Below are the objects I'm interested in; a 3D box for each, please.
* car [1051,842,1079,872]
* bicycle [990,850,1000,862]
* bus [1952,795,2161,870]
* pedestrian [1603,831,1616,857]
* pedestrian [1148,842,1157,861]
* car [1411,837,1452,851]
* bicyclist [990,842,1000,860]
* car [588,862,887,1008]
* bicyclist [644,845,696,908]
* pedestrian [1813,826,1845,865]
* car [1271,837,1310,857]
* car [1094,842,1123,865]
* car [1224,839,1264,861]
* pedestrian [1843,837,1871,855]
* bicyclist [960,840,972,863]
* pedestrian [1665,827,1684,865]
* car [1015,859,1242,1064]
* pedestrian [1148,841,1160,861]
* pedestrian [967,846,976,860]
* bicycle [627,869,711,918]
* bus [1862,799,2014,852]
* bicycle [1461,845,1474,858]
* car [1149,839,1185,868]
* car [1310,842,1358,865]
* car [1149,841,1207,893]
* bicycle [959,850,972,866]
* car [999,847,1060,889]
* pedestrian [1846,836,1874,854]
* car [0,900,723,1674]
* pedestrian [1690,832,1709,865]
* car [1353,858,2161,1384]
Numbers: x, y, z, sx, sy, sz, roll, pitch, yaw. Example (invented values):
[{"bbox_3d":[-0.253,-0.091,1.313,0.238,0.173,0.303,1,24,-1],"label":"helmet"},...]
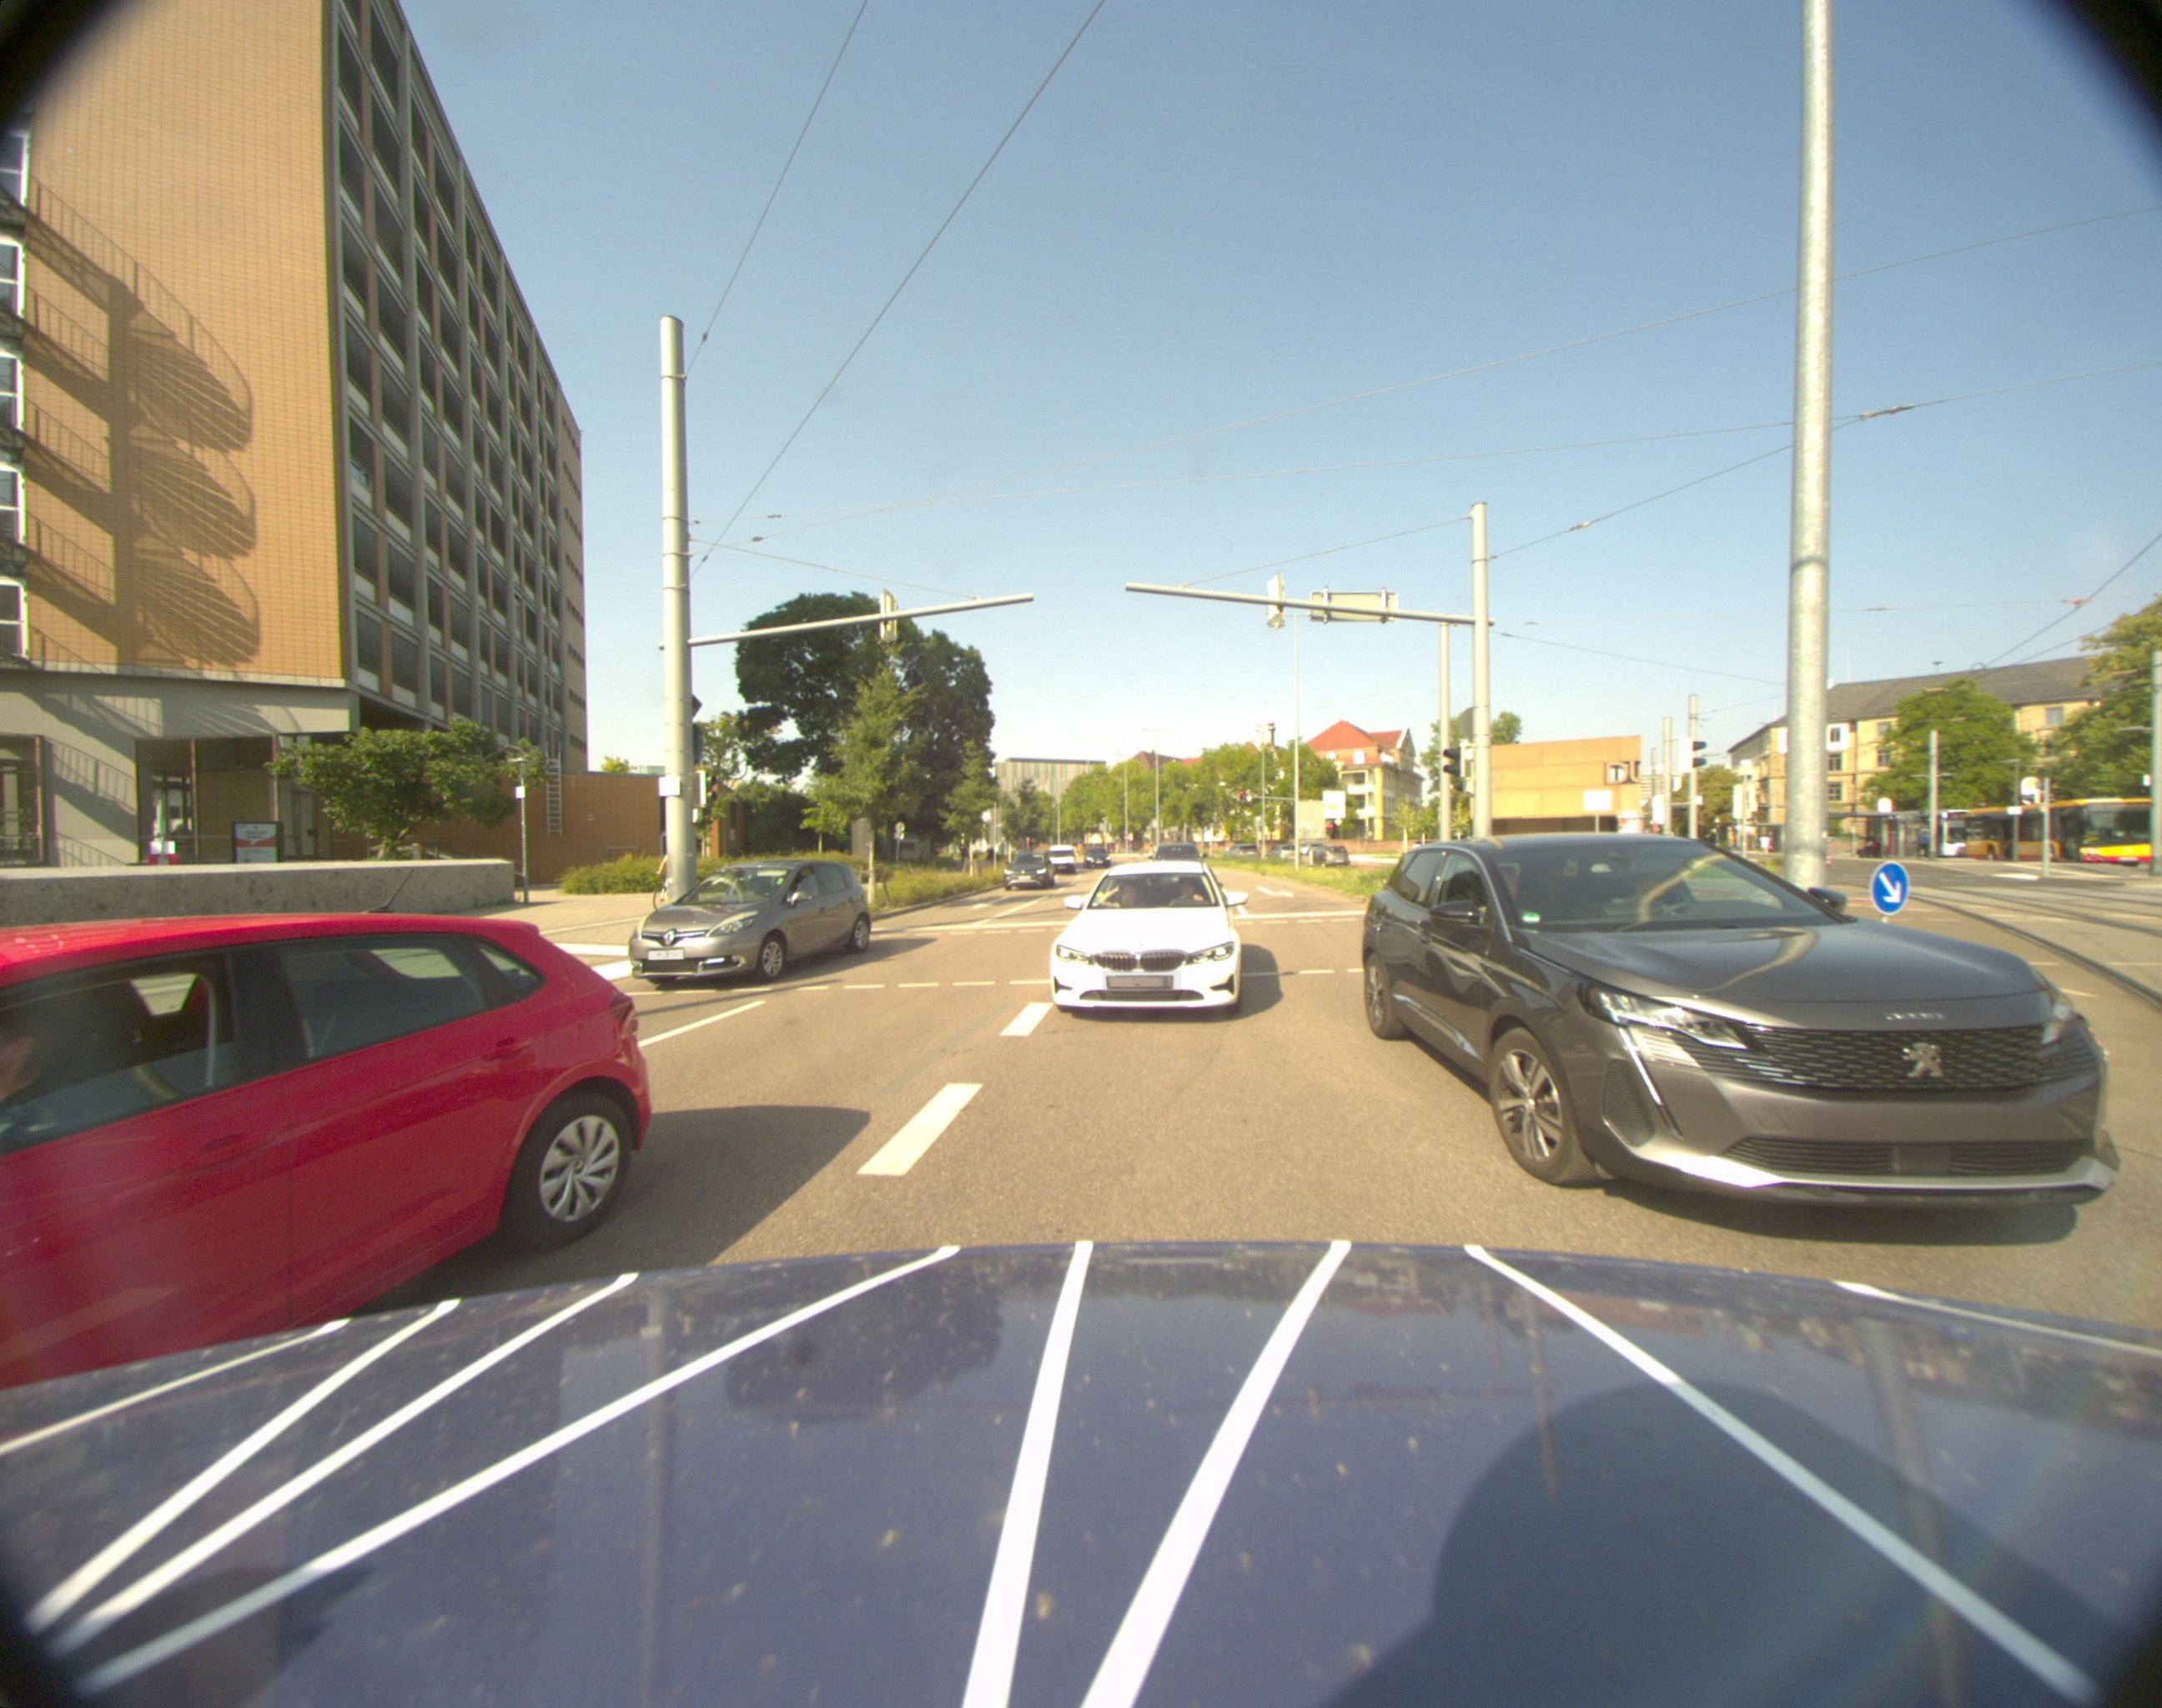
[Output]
[{"bbox_3d":[-1.038,0.162,51.011,1.687,1.930,4.371,-1,1,0],"label":"car"},{"bbox_3d":[-7.147,0.164,63.019,0.721,0.954,1.920,-1,1,-3],"label":"bicycle"},{"bbox_3d":[47.050,-1.014,37.144,2.709,3.090,12.238,0,1,34],"label":"bus"},{"bbox_3d":[36.092,-0.669,51.903,0.717,1.728,0.858,0,2,32],"label":"pedestrian"},{"bbox_3d":[6.302,-0.228,66.749,0.668,1.689,0.691,-1,1,-6],"label":"pedestrian"},{"bbox_3d":[41.589,-1.191,90.149,4.377,1.624,1.996,-1,1,-24],"label":"car"},{"bbox_3d":[-7.148,-0.254,63.065,0.721,1.504,1.004,-1,1,-3],"label":"bicyclist"},{"bbox_3d":[-4.728,1.016,11.331,1.781,1.596,4.424,-4,0,10],"label":"car"},{"bbox_3d":[-10.693,0.568,19.807,0.773,1.584,0.924,-1,1,4],"label":"bicyclist"},{"bbox_3d":[35.074,-0.406,35.634,0.779,1.790,0.701,-1,2,-2],"label":"pedestrian"},{"bbox_3d":[15.855,-0.537,57.742,1.818,1.425,4.223,-1,1,0],"label":"car"},{"bbox_3d":[2.059,-0.049,57.360,1.687,1.644,4.370,-1,1,-5],"label":"car"},{"bbox_3d":[12.265,-0.336,57.414,1.699,1.608,4.458,-1,1,-6],"label":"car"},{"bbox_3d":[48.637,-0.518,47.641,1.028,1.127,0.739,0,2,25],"label":"pedestrian"},{"bbox_3d":[-8.505,-0.154,56.062,0.773,1.666,0.923,-1,1,-6],"label":"bicyclist"},{"bbox_3d":[28.406,-0.387,36.366,0.699,1.790,0.781,1,2,38],"label":"pedestrian"},{"bbox_3d":[0.786,0.855,8.217,1.781,1.474,4.536,-1,1,11],"label":"car"},{"bbox_3d":[6.169,-0.259,64.272,0.667,1.645,0.780,0,1,31],"label":"pedestrian"},{"bbox_3d":[-10.905,-0.116,75.585,0.727,1.435,0.856,-1,1,-14],"label":"pedestrian"},{"bbox_3d":[-10.692,0.989,19.849,0.773,1.111,2.304,-1,1,4],"label":"bicycle"},{"bbox_3d":[54.592,-1.743,48.943,3.290,2.961,12.821,0,1,34],"label":"bus"},{"bbox_3d":[27.853,-0.185,54.746,0.591,0.833,1.550,-3,-1,35],"label":"bicycle"},{"bbox_3d":[5.666,-0.024,50.636,1.782,1.710,4.533,-4,0,-1],"label":"car"},{"bbox_3d":[16.099,-0.060,48.520,1.893,1.443,3.675,-1,1,1],"label":"car"},{"bbox_3d":[3.518,0.448,28.331,1.782,1.682,4.534,-4,0,4],"label":"car"},{"bbox_3d":[-8.492,0.268,56.017,0.773,1.111,2.302,-1,1,-6],"label":"bicycle"},{"bbox_3d":[-2.100,0.563,32.387,1.939,1.598,4.534,-2,0,4],"label":"car"},{"bbox_3d":[48.117,-0.543,46.940,1.028,1.127,0.739,0,2,25],"label":"pedestrian"},{"bbox_3d":[-3.121,1.030,2.077,1.685,1.483,4.375,0,1,9],"label":"car"},{"bbox_3d":[33.805,-0.314,41.544,0.699,1.790,0.781,0,2,31],"label":"pedestrian"},{"bbox_3d":[2.936,0.816,4.495,1.686,1.483,4.375,-1,1,9],"label":"car"}]
